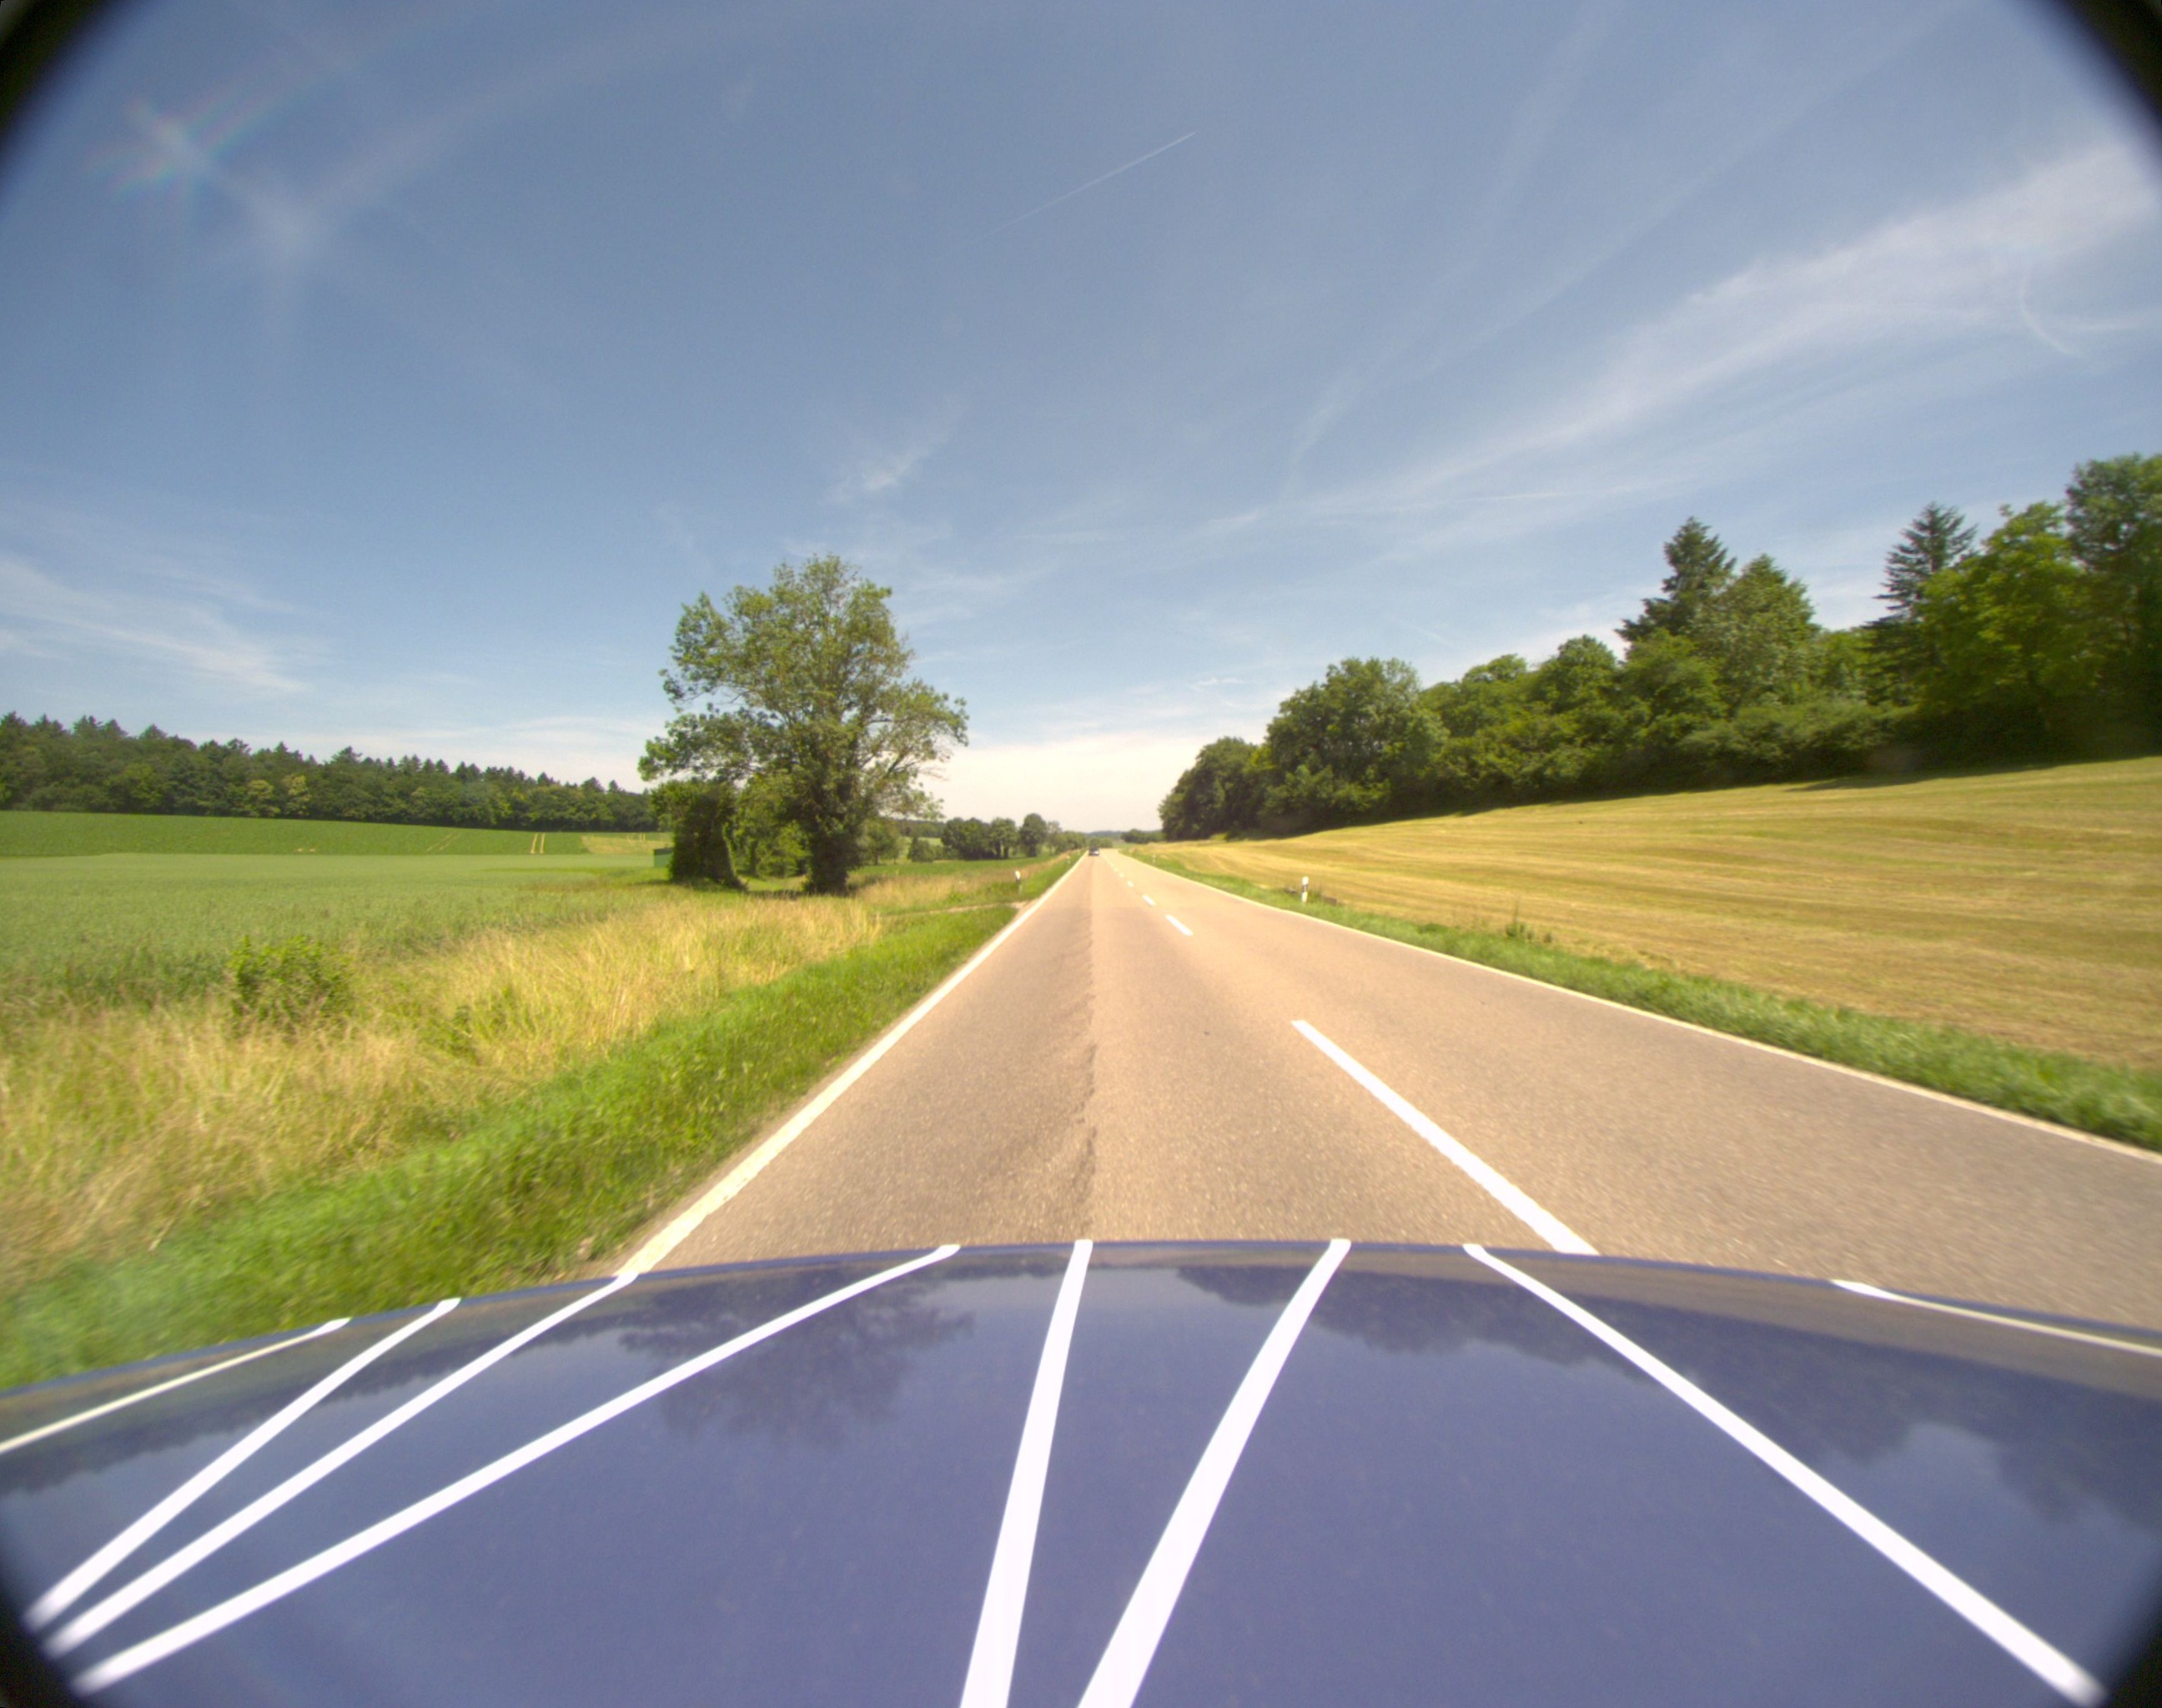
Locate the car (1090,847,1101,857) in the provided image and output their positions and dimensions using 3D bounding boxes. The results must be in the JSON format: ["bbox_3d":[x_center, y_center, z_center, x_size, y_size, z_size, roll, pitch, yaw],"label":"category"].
[{"bbox_3d":[2.508,-0.300,128.798,1.815,1.569,4.156,-2,-2,2],"label":"car"}]
